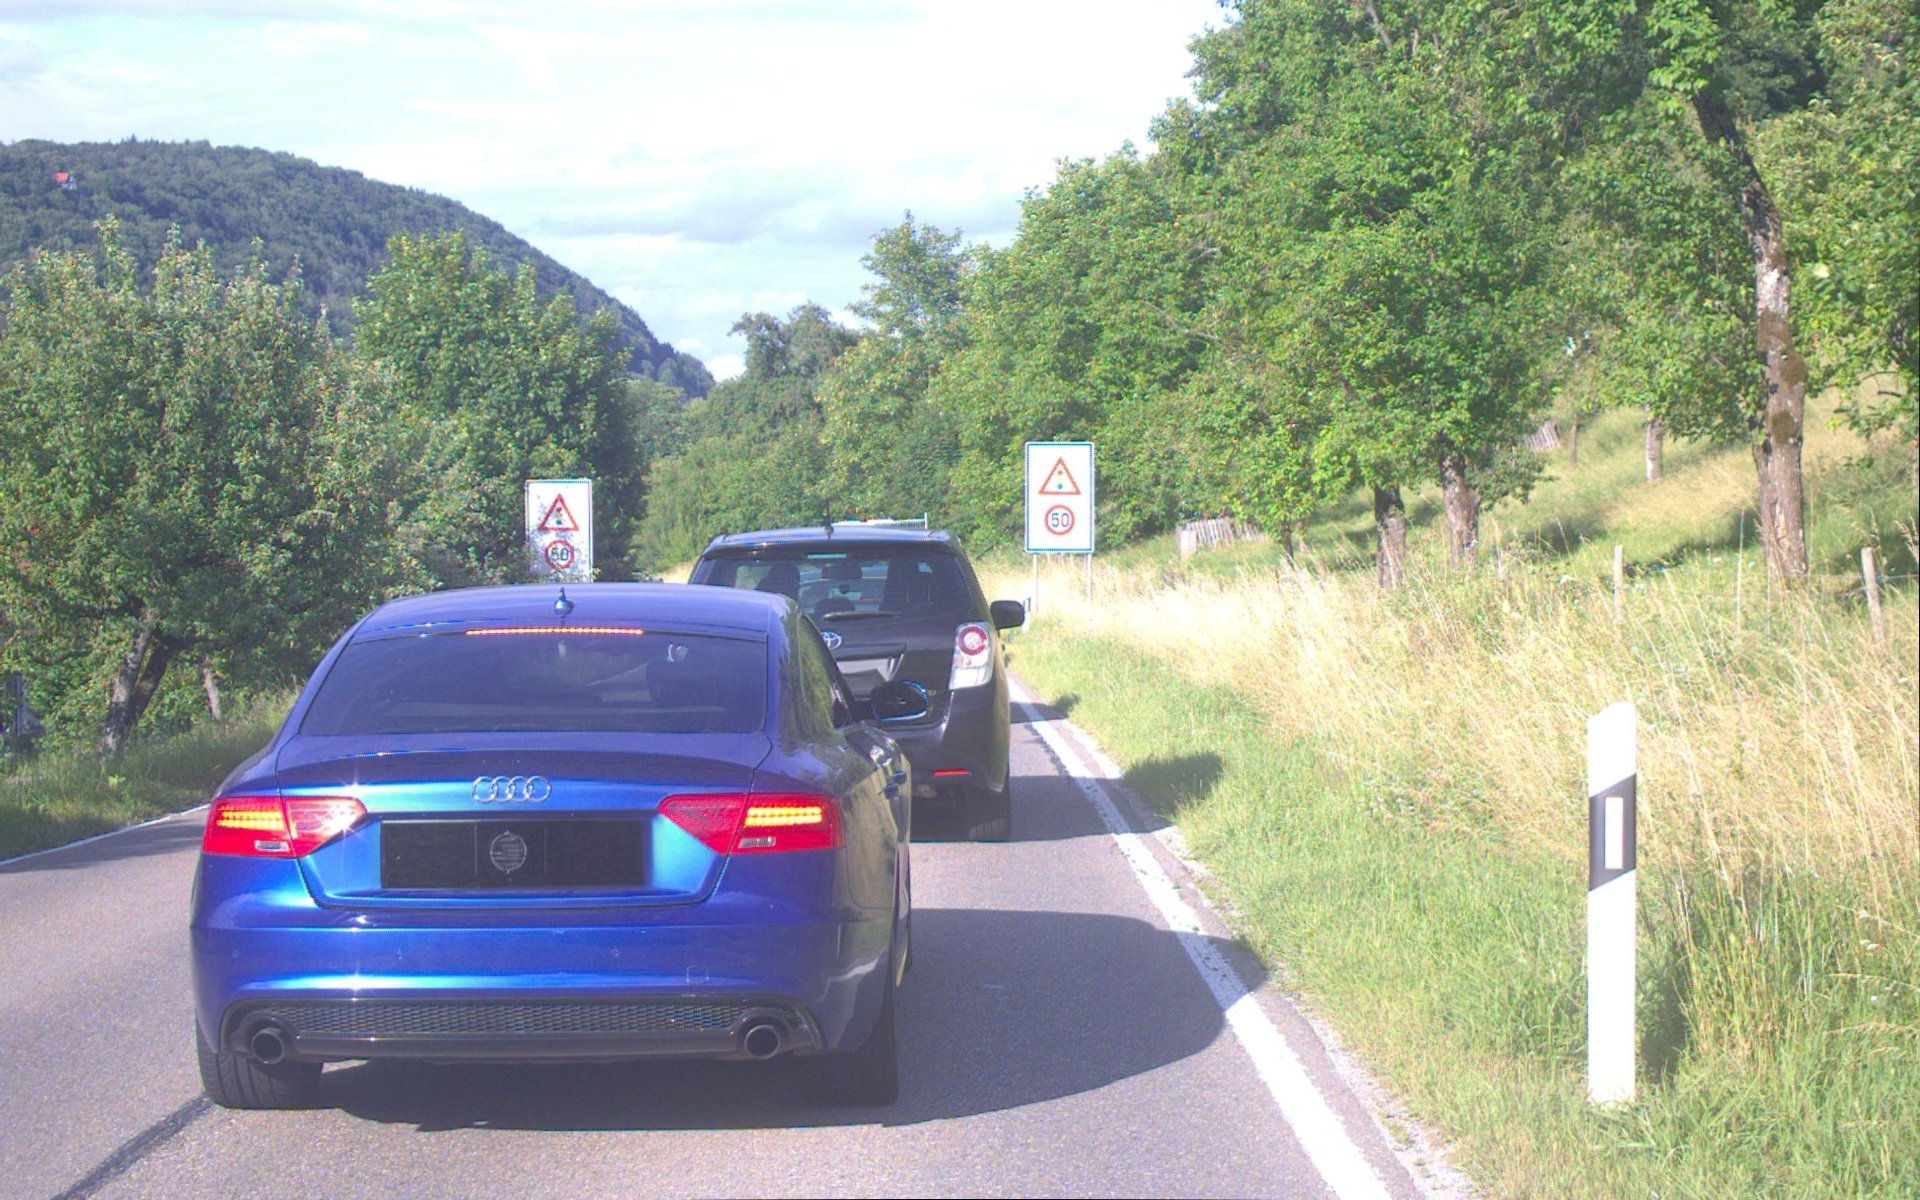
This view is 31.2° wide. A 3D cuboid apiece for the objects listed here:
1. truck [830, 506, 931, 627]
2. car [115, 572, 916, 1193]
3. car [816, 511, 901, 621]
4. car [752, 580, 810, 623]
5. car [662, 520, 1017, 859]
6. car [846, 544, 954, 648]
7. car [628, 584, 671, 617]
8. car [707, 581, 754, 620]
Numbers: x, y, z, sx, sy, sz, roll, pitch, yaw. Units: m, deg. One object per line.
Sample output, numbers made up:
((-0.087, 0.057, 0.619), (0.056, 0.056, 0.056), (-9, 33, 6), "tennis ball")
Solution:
((-1.634, -0.696, 70.501), (1.950, 2.337, 5.094), (1, 1, -1), "truck")
((-1.048, 0.633, 10.016), (1.805, 1.377, 4.215), (0, 1, 0), "car")
((-2.389, -0.801, 80.136), (1.792, 2.445, 3.920), (1, 1, -4), "car")
((-6.553, 0.040, 125.785), (1.747, 1.490, 3.779), (1, 1, -8), "car")
((-0.601, 0.395, 18.313), (1.692, 1.618, 3.789), (0, 1, -1), "car")
((-0.966, -0.090, 55.709), (1.692, 1.618, 3.789), (0, 1, -1), "car")
((-14.996, 0.012, 165.944), (1.558, 1.490, 3.779), (1, 1, -13), "car")
((-9.406, 0.023, 140.869), (1.558, 1.490, 3.779), (1, 1, -9), "car")
